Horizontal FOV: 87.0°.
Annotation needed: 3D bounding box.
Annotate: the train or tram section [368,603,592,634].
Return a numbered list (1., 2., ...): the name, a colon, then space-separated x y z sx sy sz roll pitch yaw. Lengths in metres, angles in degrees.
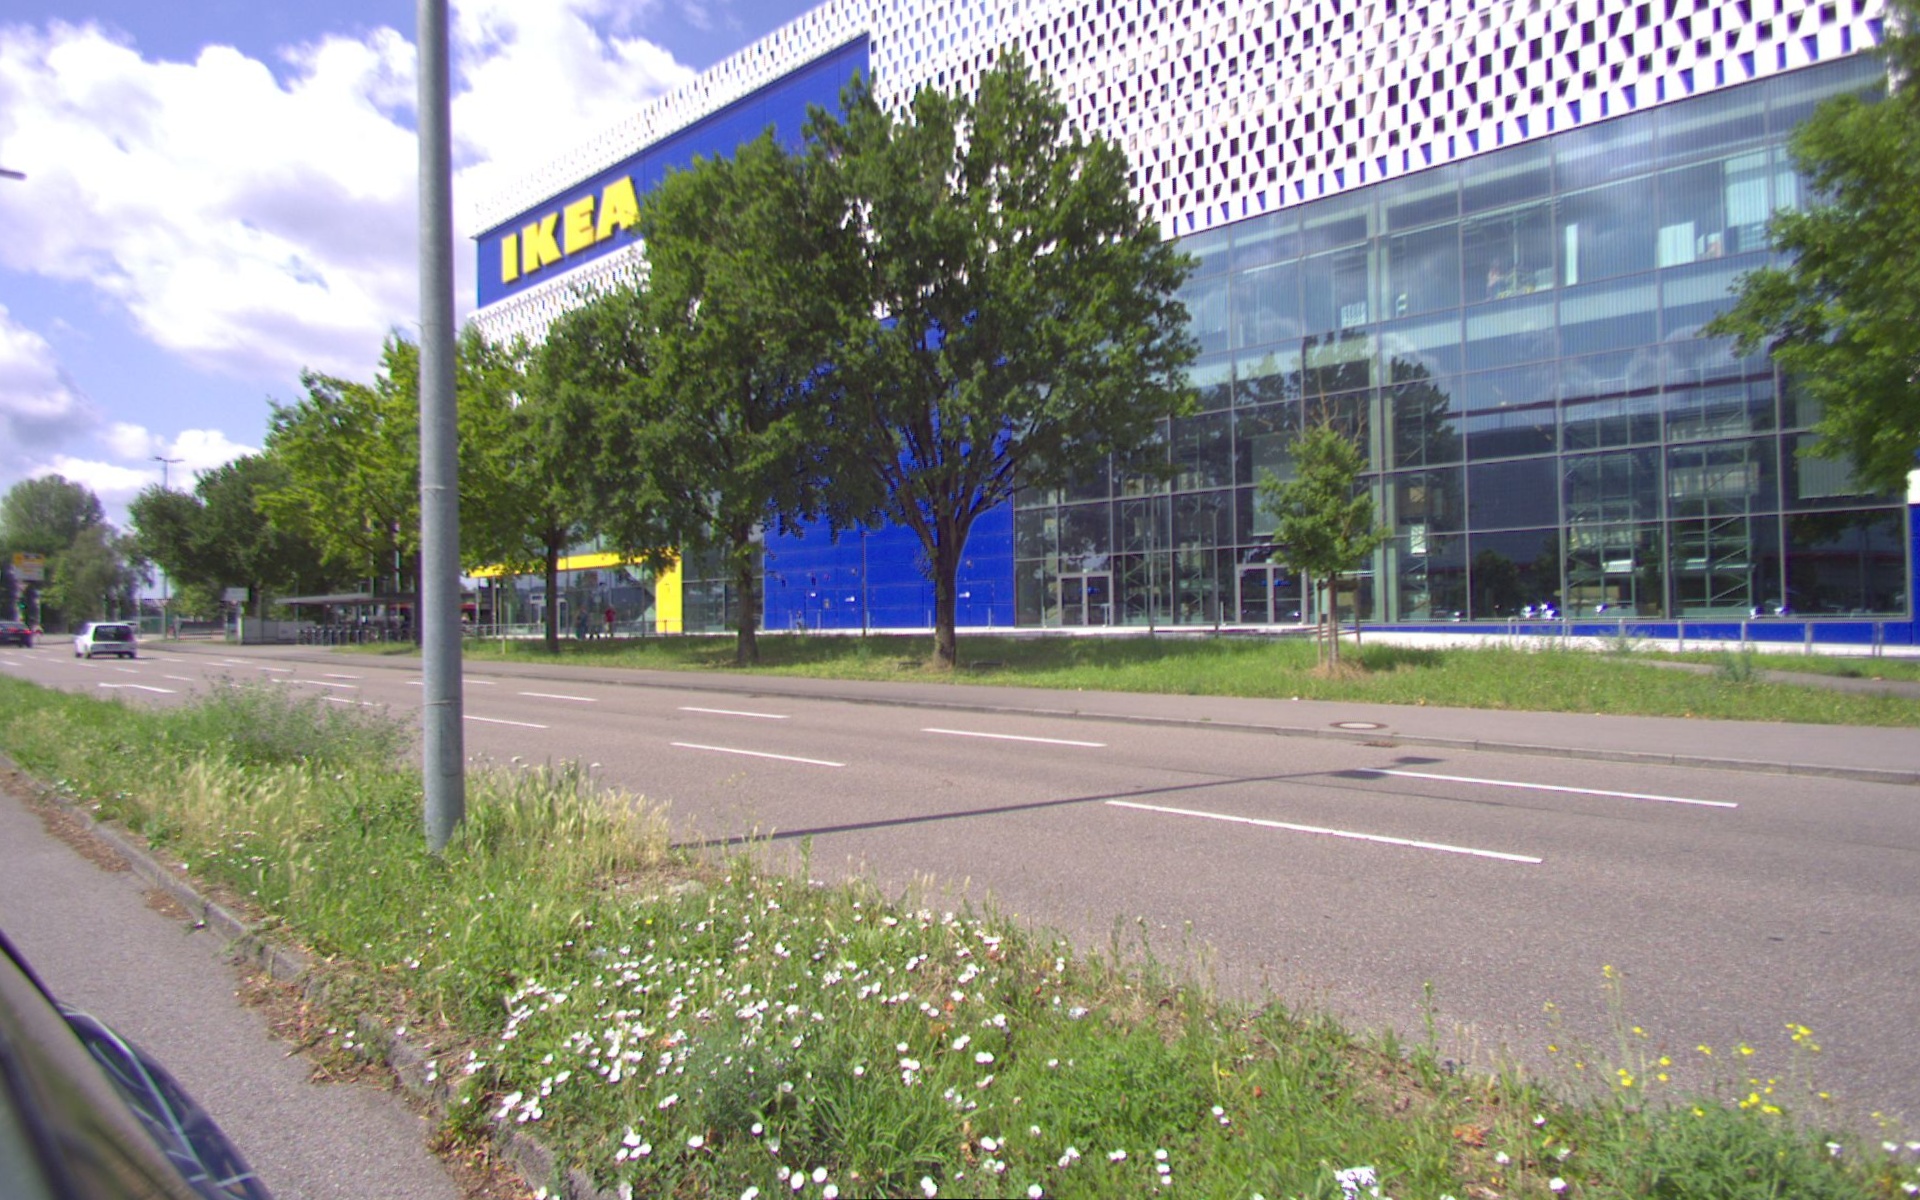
1. train or tram section: -56.773 2.397 121.640 4.525 3.055 24.802 -2 -4 38

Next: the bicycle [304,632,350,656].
1. bicycle: -35.286 2.431 56.404 0.629 1.282 2.068 -3 -2 39

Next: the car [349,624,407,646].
1. car: -59.243 3.546 103.021 1.996 2.029 4.763 -3 -2 37

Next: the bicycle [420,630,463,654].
1. bicycle: -26.643 2.152 52.014 0.629 1.193 1.905 -3 -2 40

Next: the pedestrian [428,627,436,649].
1. pedestrian: -42.827 3.070 82.106 0.515 1.716 0.405 -3 -2 34

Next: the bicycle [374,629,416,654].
1. bicycle: -31.155 2.289 55.852 0.629 1.282 1.905 -3 -2 40

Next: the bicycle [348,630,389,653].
1. bicycle: -34.002 2.395 58.206 0.629 1.282 1.905 -3 -2 40

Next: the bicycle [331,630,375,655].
1. bicycle: -32.499 2.290 54.201 0.629 1.282 1.905 -3 -2 40

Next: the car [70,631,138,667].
1. car: -35.507 2.009 41.976 3.669 1.440 1.626 -2 -3 42

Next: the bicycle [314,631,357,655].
1. bicycle: -34.343 2.351 55.691 0.629 1.282 1.905 -3 -2 40

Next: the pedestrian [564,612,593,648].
1. pedestrian: -18.052 1.414 47.906 0.886 1.715 0.940 -2 -1 40

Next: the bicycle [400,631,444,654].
1. bicycle: -28.335 2.232 53.319 0.629 1.188 1.905 -3 -2 40

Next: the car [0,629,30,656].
1. car: -53.283 2.336 56.294 4.515 1.432 1.647 -1 -4 40

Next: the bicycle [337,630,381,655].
1. bicycle: -31.724 2.247 53.460 0.629 1.282 1.905 -3 -2 40

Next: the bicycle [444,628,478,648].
1. bicycle: -31.561 2.372 64.048 0.528 1.219 1.917 -1 -2 35

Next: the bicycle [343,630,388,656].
1. bicycle: -30.831 2.216 52.496 0.629 1.282 1.905 -3 -2 40

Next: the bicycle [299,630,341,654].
1. bicycle: -36.122 2.383 57.141 0.629 1.282 1.905 -3 -2 40

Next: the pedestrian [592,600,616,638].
1. pedestrian: -17.351 0.939 49.289 0.886 1.836 0.746 -2 -1 40

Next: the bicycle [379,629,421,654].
1. bicycle: -30.476 2.259 55.092 0.629 1.282 1.905 -3 -2 40

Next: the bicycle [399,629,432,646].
1. bicycle: -36.082 2.497 67.107 0.528 1.078 1.917 -1 -2 35

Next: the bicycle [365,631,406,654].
1. bicycle: -32.011 2.353 56.386 0.629 1.192 1.905 -3 -2 40

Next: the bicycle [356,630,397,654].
1. bicycle: -33.032 2.387 57.304 0.629 1.282 1.905 -3 -2 40

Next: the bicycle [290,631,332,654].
1. bicycle: -37.171 2.440 57.982 0.629 1.282 1.905 -3 -2 40

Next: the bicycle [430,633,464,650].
1. bicycle: -32.868 2.642 64.844 0.528 1.078 1.917 -1 -2 35

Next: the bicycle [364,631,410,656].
1. bicycle: -28.848 2.200 50.963 0.629 1.192 1.905 -3 -2 40

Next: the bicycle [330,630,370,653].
1. bicycle: -35.884 2.442 59.546 0.629 1.282 1.905 -3 -2 40

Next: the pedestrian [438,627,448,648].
1. pedestrian: -42.475 3.098 83.145 0.408 1.716 0.522 -3 -2 31

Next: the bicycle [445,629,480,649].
1. bicycle: -31.156 2.429 63.450 0.596 1.253 1.927 -1 -2 36

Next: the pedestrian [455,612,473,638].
1. pedestrian: -34.035 1.715 69.500 0.710 1.719 0.887 -2 -2 39
